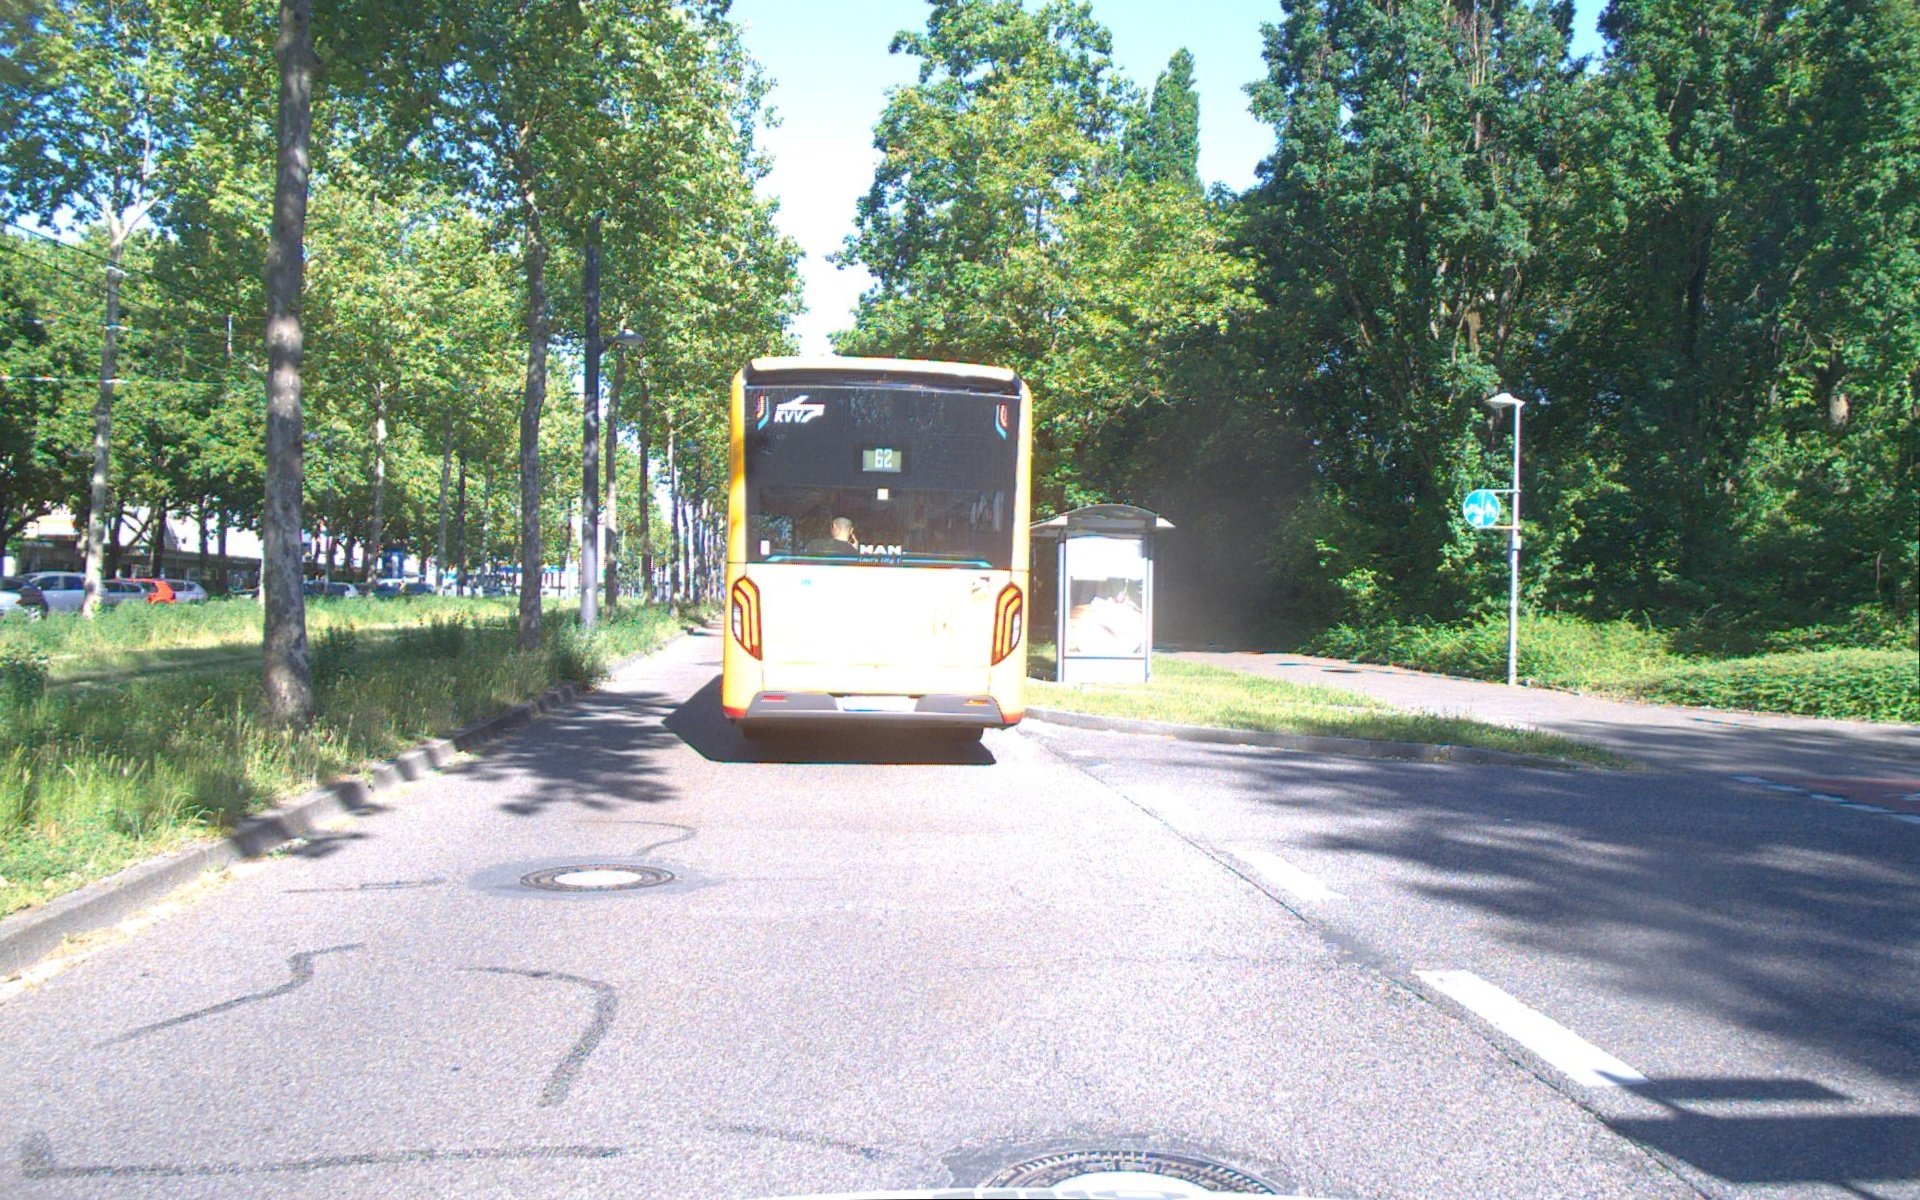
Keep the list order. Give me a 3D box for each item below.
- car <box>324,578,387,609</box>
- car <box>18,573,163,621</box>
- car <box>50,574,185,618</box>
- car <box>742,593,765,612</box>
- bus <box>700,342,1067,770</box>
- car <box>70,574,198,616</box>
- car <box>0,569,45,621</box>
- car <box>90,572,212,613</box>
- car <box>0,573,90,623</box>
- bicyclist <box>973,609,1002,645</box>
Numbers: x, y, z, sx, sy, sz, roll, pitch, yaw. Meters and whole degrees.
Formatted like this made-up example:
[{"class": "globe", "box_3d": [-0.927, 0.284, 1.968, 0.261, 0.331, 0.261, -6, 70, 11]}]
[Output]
[{"class": "car", "box_3d": [-30.922, -0.326, 84.709, 1.758, 1.536, 3.999, 1, 0, -1]}, {"class": "car", "box_3d": [-29.411, -0.090, 56.030, 1.766, 1.537, 3.980, 1, 0, 39]}, {"class": "car", "box_3d": [-30.236, -0.143, 59.453, 1.766, 1.537, 3.980, 1, 0, 39]}, {"class": "car", "box_3d": [-21.220, 0.254, 169.771, 1.947, 1.671, 4.131, 4, 1, -3]}, {"class": "bus", "box_3d": [-1.097, -0.359, 19.147, 2.843, 3.324, 12.205, 1, 0, -5]}, {"class": "car", "box_3d": [-31.221, -0.183, 62.578, 1.766, 1.537, 3.980, 1, 0, 39]}, {"class": "car", "box_3d": [-29.398, -0.169, 48.645, 1.766, 1.537, 3.980, 1, 0, 39]}, {"class": "car", "box_3d": [-31.975, -0.278, 65.416, 1.766, 1.537, 3.980, 1, 0, 39]}, {"class": "car", "box_3d": [-29.880, -0.079, 52.189, 1.768, 1.537, 3.975, 1, 0, 42]}, {"class": "bicyclist", "box_3d": [1.336, 1.313, 80.118, 1.158, 1.690, 1.026, 1, 0, -13]}]
